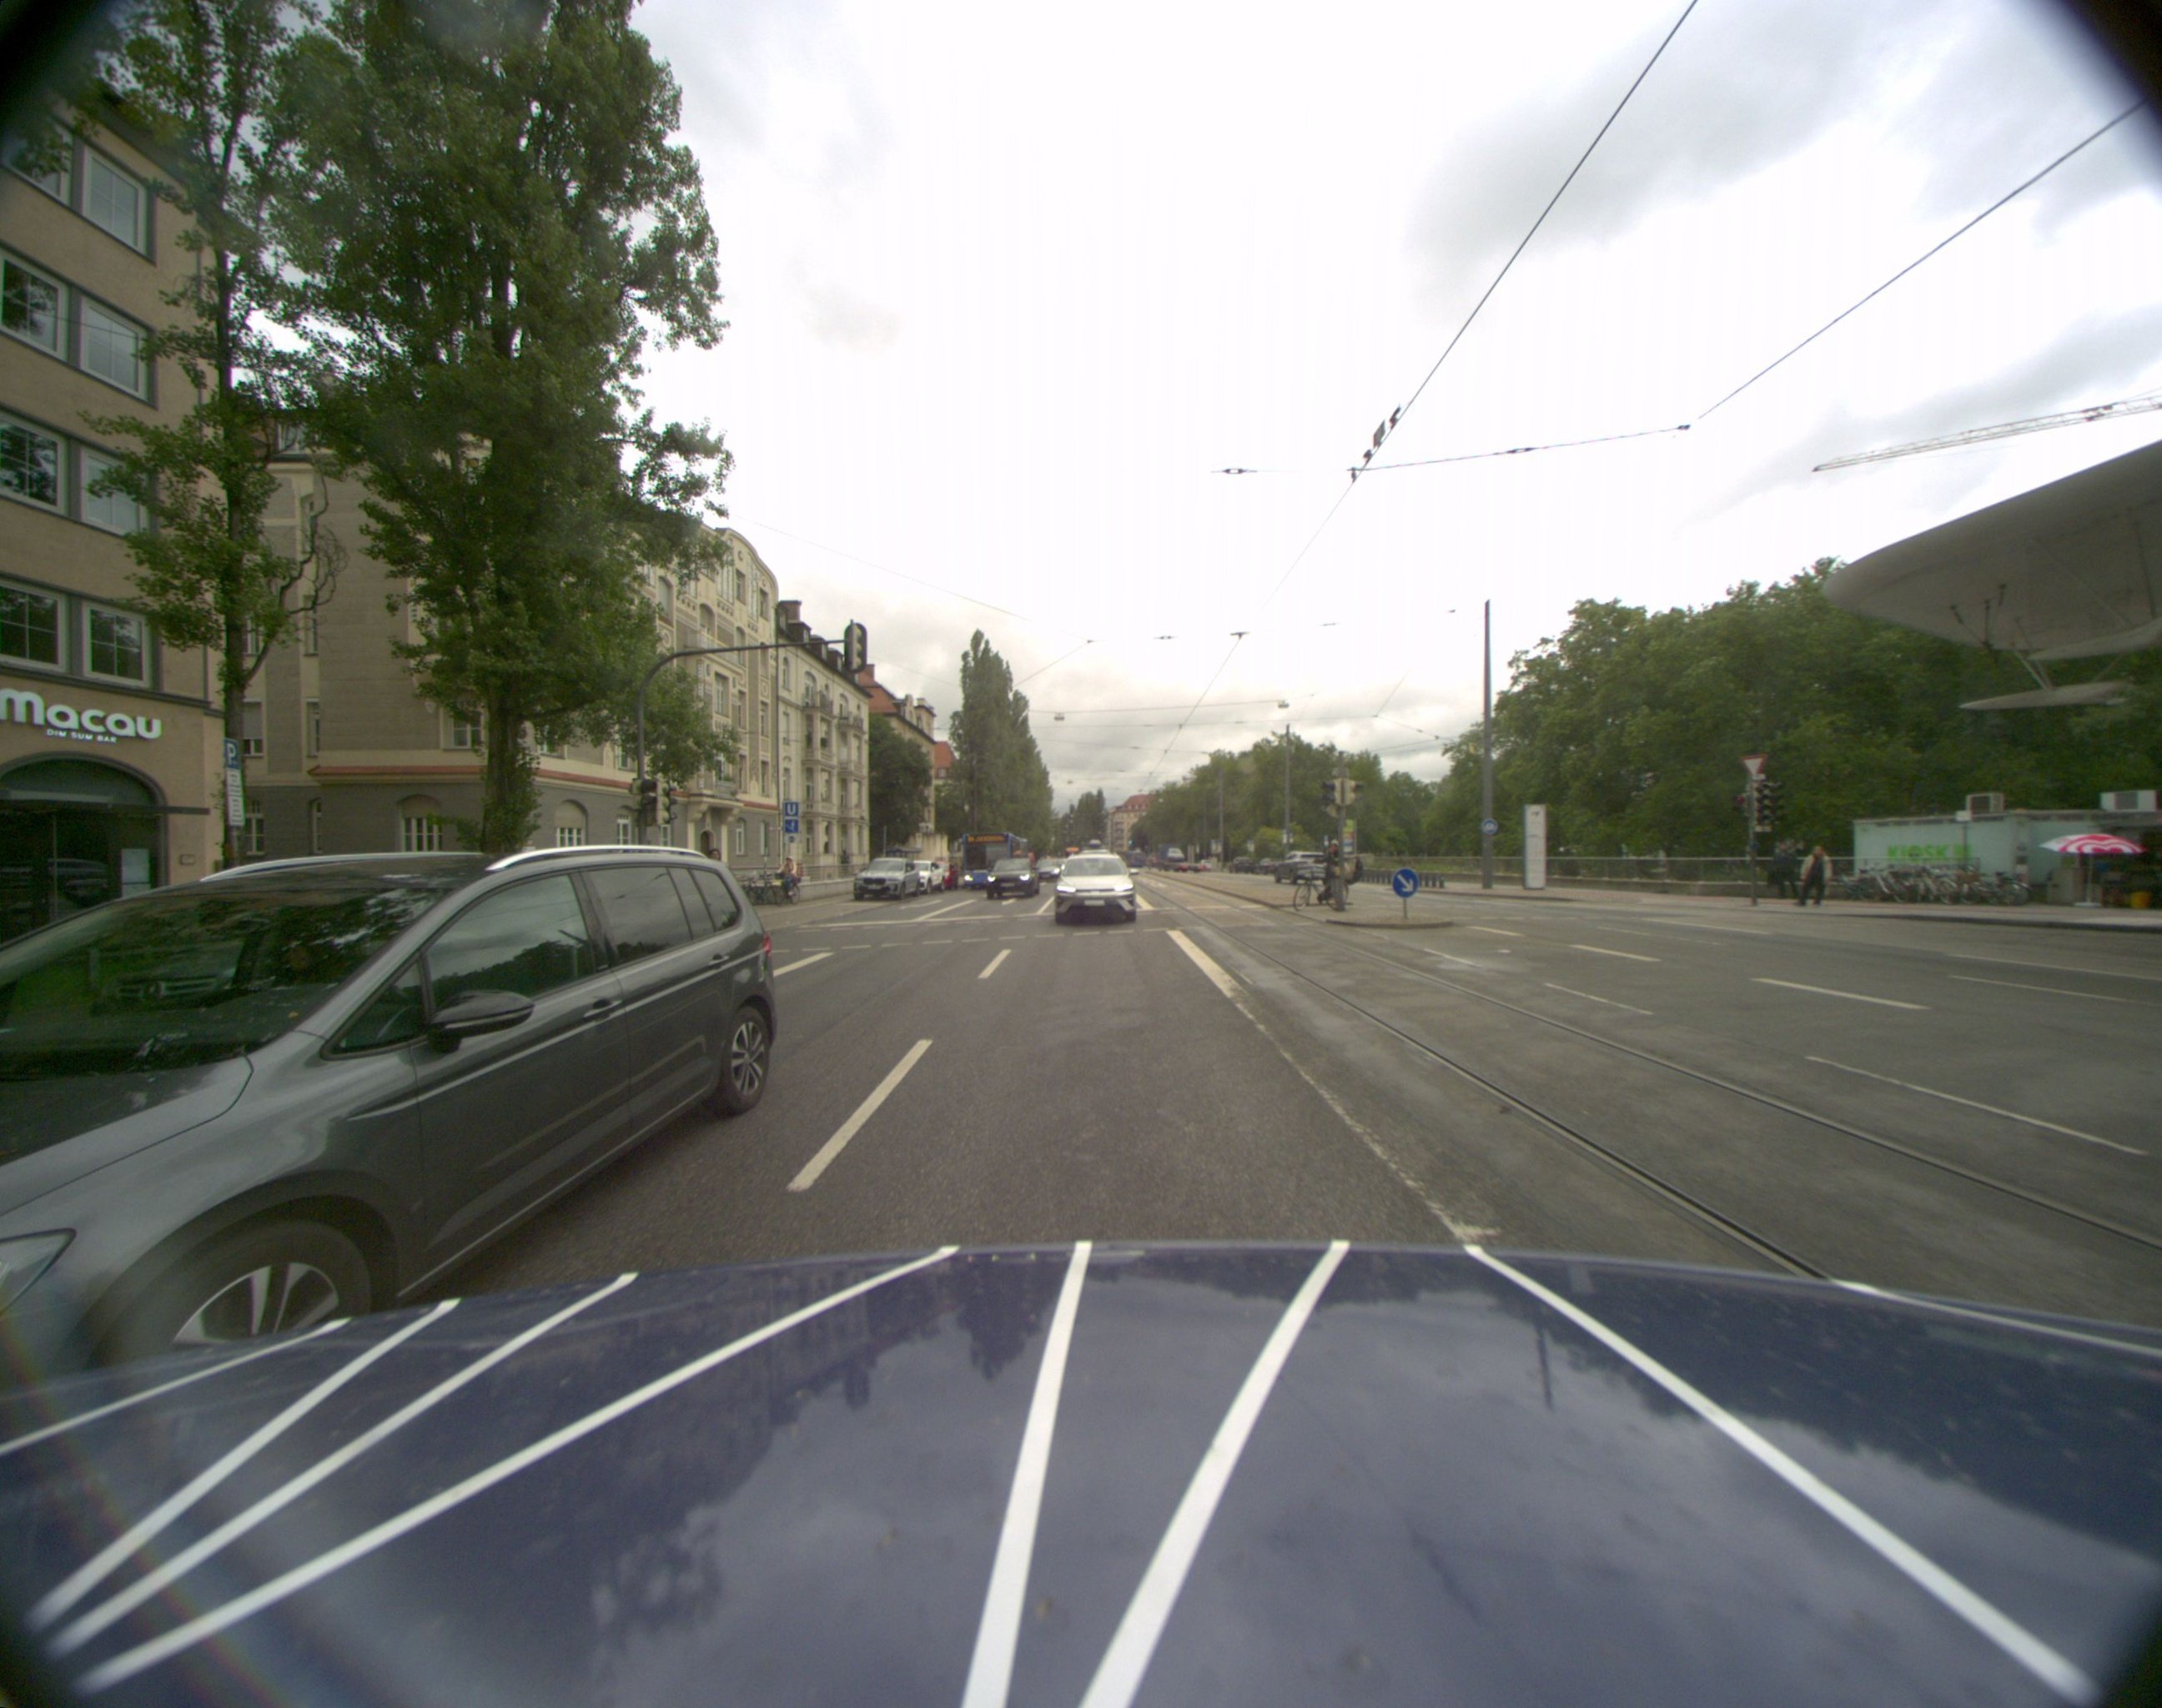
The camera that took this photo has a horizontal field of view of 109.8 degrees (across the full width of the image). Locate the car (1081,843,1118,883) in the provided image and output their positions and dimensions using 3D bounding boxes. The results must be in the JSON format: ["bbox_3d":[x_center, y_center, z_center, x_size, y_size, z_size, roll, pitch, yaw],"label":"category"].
[{"bbox_3d":[1.024,0.481,43.111,1.998,2.100,4.000,-1,1,1],"label":"car"}]

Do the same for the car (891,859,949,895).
[{"bbox_3d":[-7.503,1.033,35.827,1.730,1.567,3.967,0,0,3],"label":"car"}]

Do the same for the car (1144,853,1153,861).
[{"bbox_3d":[14.560,0.585,164.180,1.809,1.674,4.000,0,0,1],"label":"car"}]

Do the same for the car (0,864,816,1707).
[{"bbox_3d":[-2.894,0.935,3.119,1.776,1.637,4.708,-2,0,2],"label":"car"}]

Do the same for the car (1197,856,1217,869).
[{"bbox_3d":[15.792,1.026,95.184,1.893,1.521,4.000,0,0,1],"label":"car"}]

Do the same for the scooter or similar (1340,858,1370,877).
[{"bbox_3d":[17.219,0.852,47.823,1.692,1.165,0.562,0,1,-1],"label":"scooter or similar"}]

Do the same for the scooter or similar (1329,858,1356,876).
[{"bbox_3d":[17.205,0.845,50.004,1.695,1.165,0.561,-1,1,-18],"label":"scooter or similar"}]

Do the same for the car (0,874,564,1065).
[{"bbox_3d":[-8.368,1.018,8.575,1.999,1.432,4.528,0,0,-1],"label":"car"}]

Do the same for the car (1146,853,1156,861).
[{"bbox_3d":[14.364,0.609,156.691,1.809,1.674,4.000,0,0,1],"label":"car"}]

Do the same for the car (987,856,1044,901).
[{"bbox_3d":[-2.499,0.912,29.915,1.780,1.495,3.970,-3,0,1],"label":"car"}]

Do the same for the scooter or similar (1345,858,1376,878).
[{"bbox_3d":[17.144,0.860,46.640,1.692,1.165,0.562,0,1,-1],"label":"scooter or similar"}]

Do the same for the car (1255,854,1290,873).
[{"bbox_3d":[16.082,0.743,63.976,1.864,1.517,4.233,0,0,1],"label":"car"}]

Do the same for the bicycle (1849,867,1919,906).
[{"bbox_3d":[24.046,0.951,22.790,0.479,1.090,1.851,0,0,12],"label":"bicycle"}]

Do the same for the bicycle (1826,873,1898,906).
[{"bbox_3d":[23.506,1.045,22.910,0.479,0.889,1.850,0,0,9],"label":"bicycle"}]

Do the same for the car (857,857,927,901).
[{"bbox_3d":[-7.658,0.963,31.197,1.737,1.651,4.502,0,0,0],"label":"car"}]

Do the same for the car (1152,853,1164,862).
[{"bbox_3d":[14.148,0.622,139.365,1.809,1.633,4.000,0,0,1],"label":"car"}]

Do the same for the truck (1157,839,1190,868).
[{"bbox_3d":[10.251,-0.060,84.744,2.572,3.069,7.689,1,0,-1],"label":"truck"}]

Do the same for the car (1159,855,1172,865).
[{"bbox_3d":[14.433,0.987,130.567,1.809,1.633,4.000,0,0,1],"label":"car"}]

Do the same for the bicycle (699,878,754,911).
[{"bbox_3d":[-12.464,1.406,26.779,0.445,1.017,1.842,-1,1,28],"label":"bicycle"}]

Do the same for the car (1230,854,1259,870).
[{"bbox_3d":[15.879,0.766,74.104,1.998,1.561,4.101,0,0,1],"label":"car"}]

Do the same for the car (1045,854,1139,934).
[{"bbox_3d":[0.313,0.794,17.433,1.812,1.496,4.953,-1,0,2],"label":"car"}]

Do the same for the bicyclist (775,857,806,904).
[{"bbox_3d":[-10.043,0.892,26.305,0.681,1.594,0.939,0,1,1],"label":"bicyclist"}]

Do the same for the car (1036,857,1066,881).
[{"bbox_3d":[-1.928,0.944,49.834,1.704,1.425,4.245,-3,0,1],"label":"car"}]

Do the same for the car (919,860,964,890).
[{"bbox_3d":[-7.404,1.104,40.749,1.730,1.500,3.742,0,0,0],"label":"car"}]

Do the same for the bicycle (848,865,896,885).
[{"bbox_3d":[-13.485,1.336,48.963,2.922,1.141,0.639,-2,1,-17],"label":"bicycle"}]

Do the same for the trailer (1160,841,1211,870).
[{"bbox_3d":[10.415,0.120,77.721,2.617,2.666,15.637,1,0,-1],"label":"trailer"}]

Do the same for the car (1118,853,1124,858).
[{"bbox_3d":[12.558,0.564,238.201,1.628,1.473,3.602,0,0,1],"label":"car"}]

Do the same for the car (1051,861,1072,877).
[{"bbox_3d":[-1.670,1.292,65.827,1.704,1.360,3.632,0,0,1],"label":"car"}]

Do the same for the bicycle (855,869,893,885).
[{"bbox_3d":[-13.180,1.437,48.345,2.326,0.916,0.586,-2,1,-16],"label":"bicycle"}]

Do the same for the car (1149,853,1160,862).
[{"bbox_3d":[14.370,0.723,149.168,1.809,1.674,4.000,0,0,1],"label":"car"}]

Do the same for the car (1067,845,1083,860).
[{"bbox_3d":[-1.059,-0.303,140.824,2.806,2.836,5.114,-1,1,1],"label":"car"}]

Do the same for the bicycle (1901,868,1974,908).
[{"bbox_3d":[25.370,0.980,22.548,0.479,1.090,1.851,0,0,15],"label":"bicycle"}]

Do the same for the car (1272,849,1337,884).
[{"bbox_3d":[11.292,0.585,38.751,1.868,1.629,4.677,1,0,-1],"label":"car"}]
